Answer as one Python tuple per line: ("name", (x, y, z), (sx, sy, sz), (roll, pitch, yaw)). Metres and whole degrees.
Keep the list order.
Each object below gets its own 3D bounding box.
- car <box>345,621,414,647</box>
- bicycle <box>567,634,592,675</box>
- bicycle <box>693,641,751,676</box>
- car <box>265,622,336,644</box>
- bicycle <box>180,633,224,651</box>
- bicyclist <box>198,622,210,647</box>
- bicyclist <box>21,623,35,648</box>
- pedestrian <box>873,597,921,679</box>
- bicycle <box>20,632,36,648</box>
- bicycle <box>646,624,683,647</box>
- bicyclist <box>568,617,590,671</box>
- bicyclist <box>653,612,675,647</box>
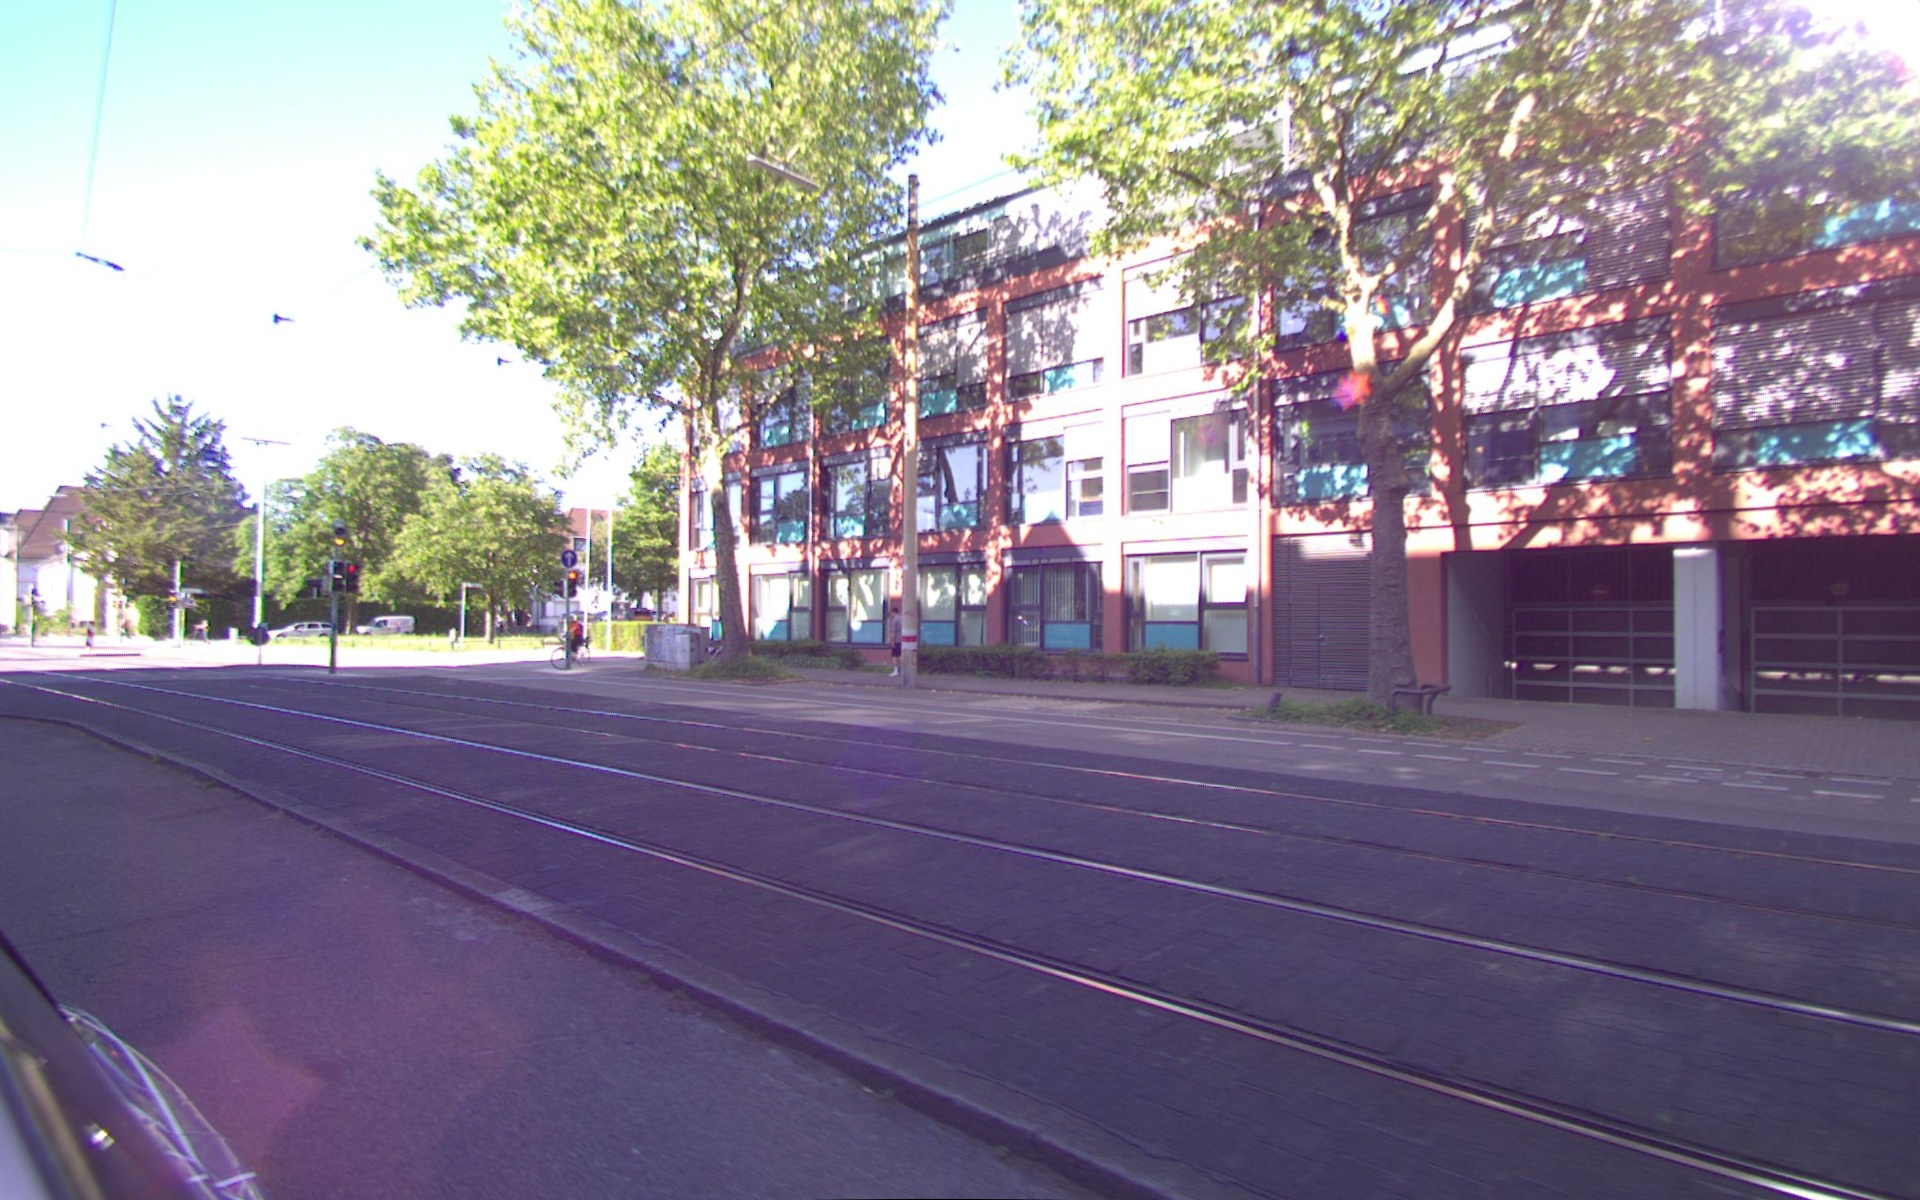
("car", (-44.014, 2.548, 76.771), (1.817, 1.881, 4.252), (-1, -1, 45))
("bicycle", (-12.365, 1.756, 32.870), (0.623, 1.137, 2.042), (-4, 3, -22))
("bicycle", (-6.562, 1.599, 27.910), (1.532, 0.913, 0.518), (0, -1, 19))
("car", (-46.174, 2.308, 70.891), (3.938, 1.444, 1.819), (1, -2, -42))
("bicycle", (-50.463, 2.790, 67.392), (2.251, 1.126, 0.931), (1, -2, -40))
("bicyclist", (-50.425, 2.276, 67.501), (0.551, 1.635, 0.900), (1, -2, -39))
("bicyclist", (-64.813, 2.469, 70.385), (0.901, 1.724, 0.581), (-2, -3, 40))
("pedestrian", (-1.590, 0.952, 25.671), (0.779, 2.029, 0.903), (-2, 0, 34))
("bicycle", (-64.833, 2.774, 70.395), (1.825, 1.122, 0.581), (-2, -3, 40))
("bicycle", (-14.260, 1.710, 48.803), (1.920, 1.050, 0.639), (-2, 0, 35))
("bicyclist", (-12.369, 1.420, 32.846), (0.596, 1.705, 0.935), (-2, 0, -22))
("bicyclist", (-14.295, 1.426, 48.907), (0.779, 1.623, 0.639), (-2, 0, 34))
